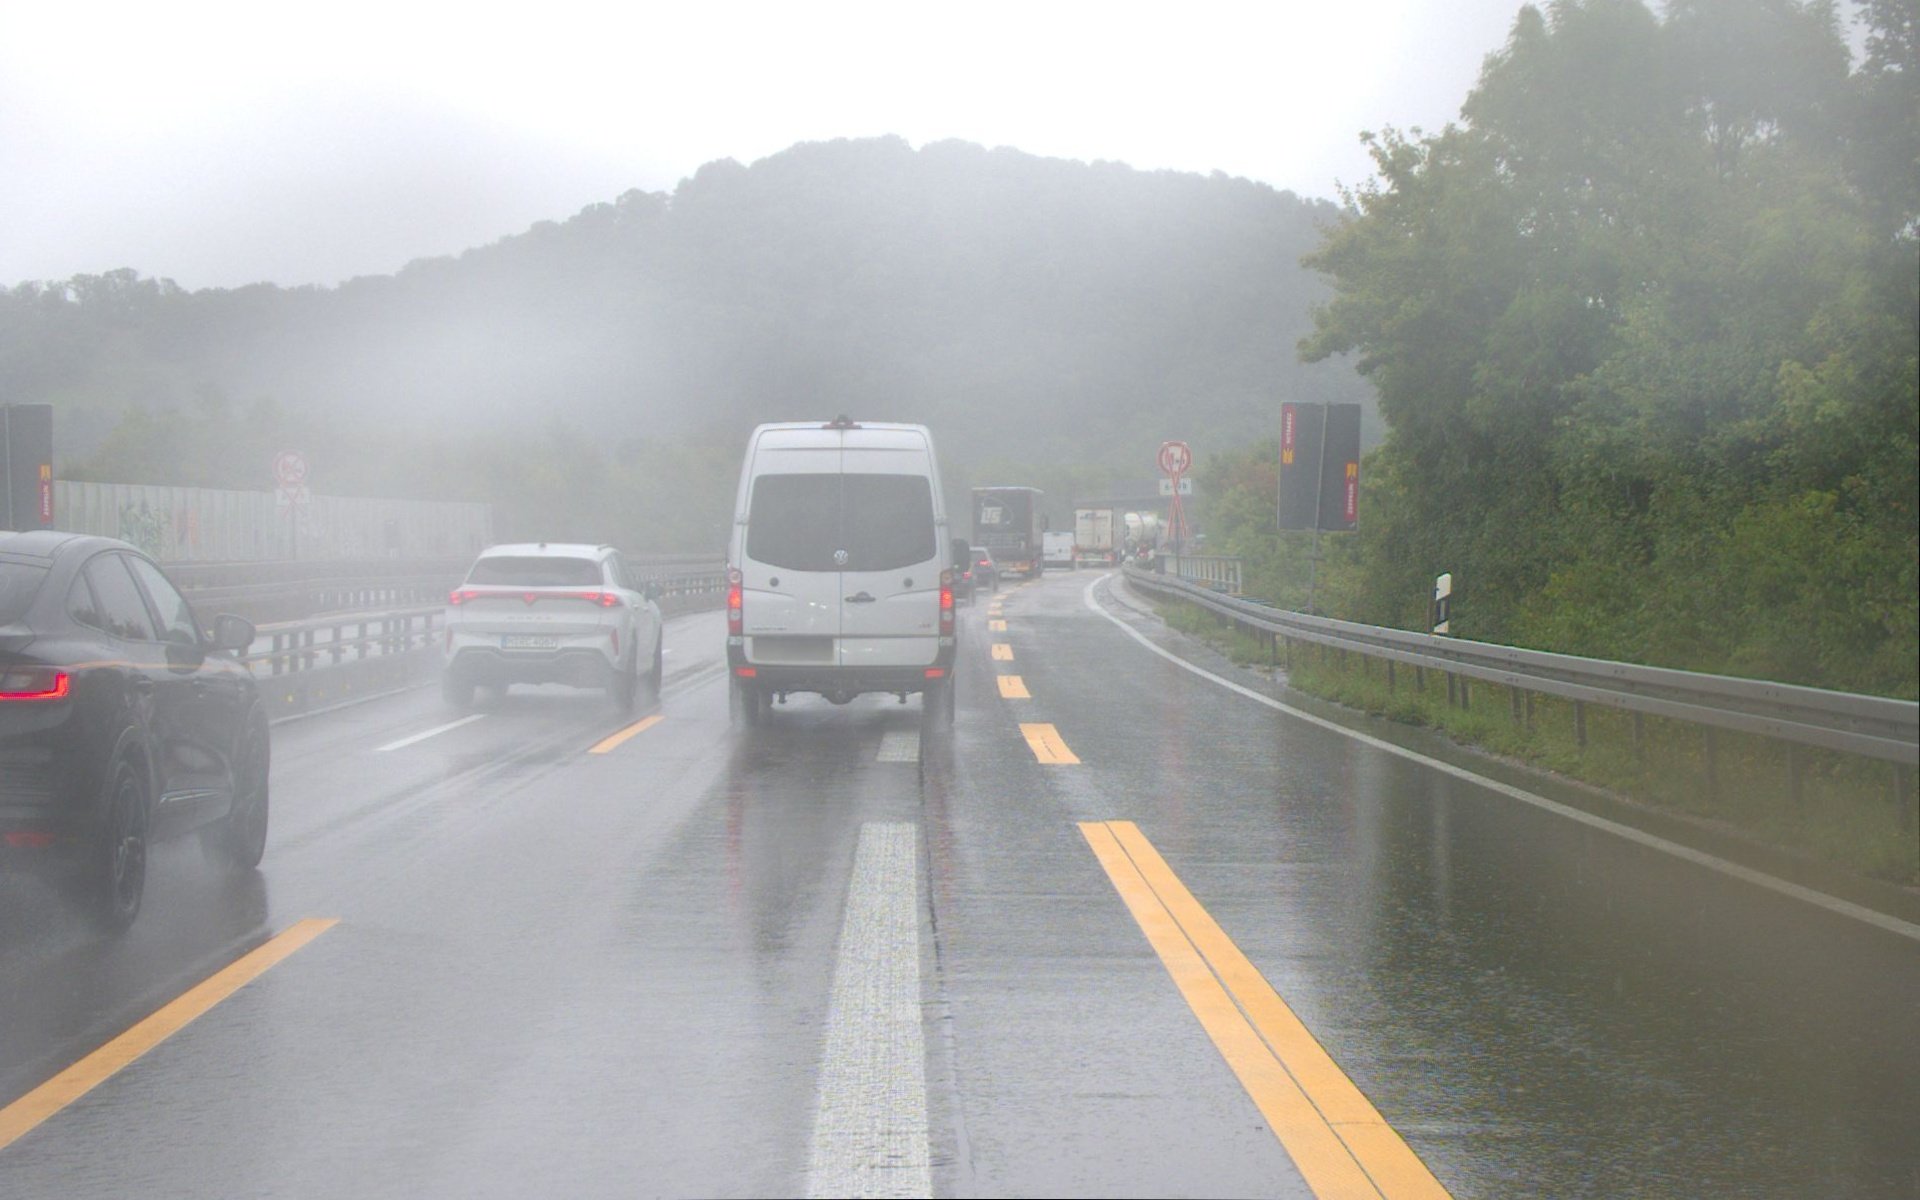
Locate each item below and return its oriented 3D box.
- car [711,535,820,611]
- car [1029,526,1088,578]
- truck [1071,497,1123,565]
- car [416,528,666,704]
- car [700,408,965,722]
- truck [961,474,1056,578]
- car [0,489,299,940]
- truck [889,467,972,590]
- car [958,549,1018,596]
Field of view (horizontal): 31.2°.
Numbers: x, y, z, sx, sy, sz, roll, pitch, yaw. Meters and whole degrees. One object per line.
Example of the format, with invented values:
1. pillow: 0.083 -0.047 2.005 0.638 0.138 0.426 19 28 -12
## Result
1. car: -4.155 -0.592 74.069 1.947 1.556 4.000 1 0 2
2. car: 5.688 -2.718 197.777 2.899 2.877 6.410 1 0 6
3. truck: 9.309 -4.602 232.267 3.036 4.391 9.622 1 0 5
4. car: -4.113 0.127 34.495 1.993 1.612 4.797 1 0 -1
5. car: -1.129 -0.316 31.205 2.145 2.562 5.390 1 0 -1
6. truck: 2.206 -3.202 151.392 3.582 4.391 9.623 1 0 4
7. car: -4.081 0.365 14.246 1.993 1.579 4.414 1 0 -3
8. truck: -0.741 -1.851 91.555 1.993 3.098 8.498 1 0 1
9. car: 0.923 -0.896 110.983 1.774 1.470 4.000 1 0 2
